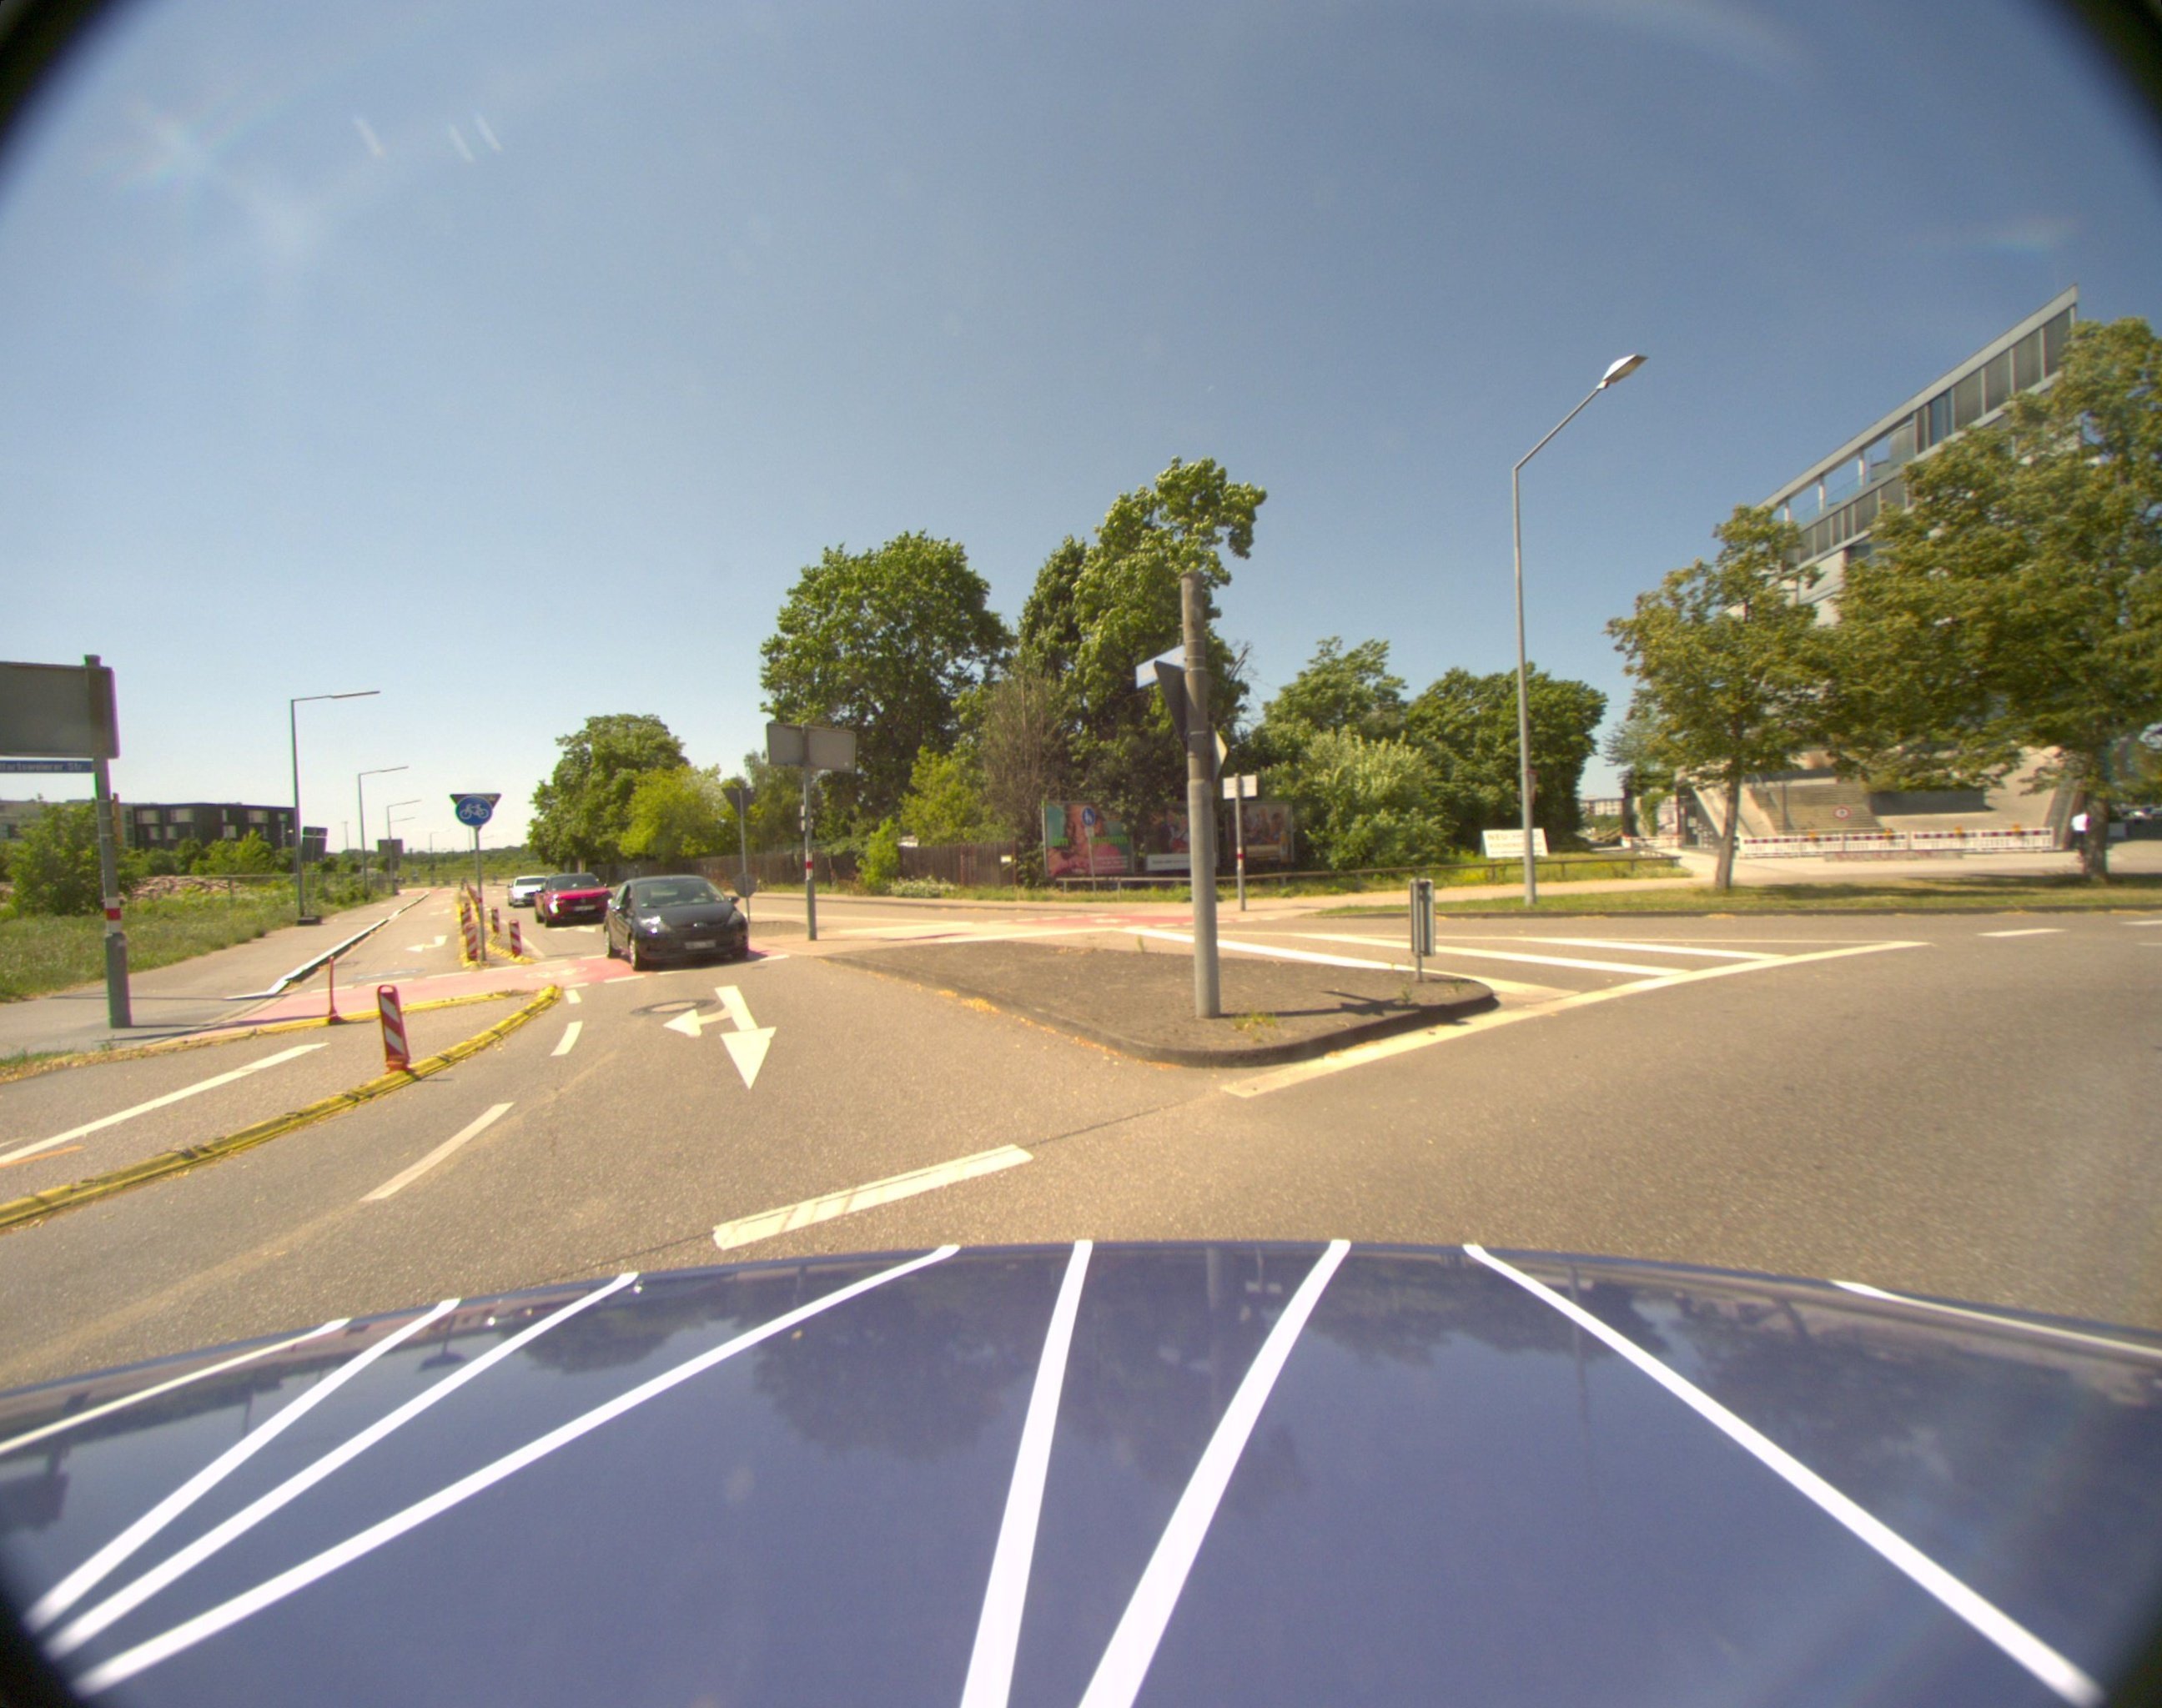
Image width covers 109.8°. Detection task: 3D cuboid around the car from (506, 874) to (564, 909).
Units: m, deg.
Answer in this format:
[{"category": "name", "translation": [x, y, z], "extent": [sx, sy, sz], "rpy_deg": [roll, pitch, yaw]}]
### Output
[{"category": "car", "translation": [-26.009, 1.751, 36.154], "extent": [1.867, 1.420, 3.989], "rpy_deg": [-5, 2, -40]}]

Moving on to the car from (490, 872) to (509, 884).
[{"category": "car", "translation": [-80.816, 3.291, 105.599], "extent": [1.763, 1.536, 3.684], "rpy_deg": [-3, 1, -41]}]

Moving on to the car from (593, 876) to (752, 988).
[{"category": "car", "translation": [-7.024, 1.176, 12.875], "extent": [1.637, 1.499, 3.809], "rpy_deg": [-3, 1, -39]}]

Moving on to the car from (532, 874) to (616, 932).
[{"category": "car", "translation": [-15.688, 1.431, 23.414], "extent": [1.724, 1.518, 4.200], "rpy_deg": [-3, 1, -39]}]

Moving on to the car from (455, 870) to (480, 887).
[{"category": "car", "translation": [-61.505, 2.423, 76.162], "extent": [1.763, 1.536, 3.684], "rpy_deg": [-3, 1, -41]}]
